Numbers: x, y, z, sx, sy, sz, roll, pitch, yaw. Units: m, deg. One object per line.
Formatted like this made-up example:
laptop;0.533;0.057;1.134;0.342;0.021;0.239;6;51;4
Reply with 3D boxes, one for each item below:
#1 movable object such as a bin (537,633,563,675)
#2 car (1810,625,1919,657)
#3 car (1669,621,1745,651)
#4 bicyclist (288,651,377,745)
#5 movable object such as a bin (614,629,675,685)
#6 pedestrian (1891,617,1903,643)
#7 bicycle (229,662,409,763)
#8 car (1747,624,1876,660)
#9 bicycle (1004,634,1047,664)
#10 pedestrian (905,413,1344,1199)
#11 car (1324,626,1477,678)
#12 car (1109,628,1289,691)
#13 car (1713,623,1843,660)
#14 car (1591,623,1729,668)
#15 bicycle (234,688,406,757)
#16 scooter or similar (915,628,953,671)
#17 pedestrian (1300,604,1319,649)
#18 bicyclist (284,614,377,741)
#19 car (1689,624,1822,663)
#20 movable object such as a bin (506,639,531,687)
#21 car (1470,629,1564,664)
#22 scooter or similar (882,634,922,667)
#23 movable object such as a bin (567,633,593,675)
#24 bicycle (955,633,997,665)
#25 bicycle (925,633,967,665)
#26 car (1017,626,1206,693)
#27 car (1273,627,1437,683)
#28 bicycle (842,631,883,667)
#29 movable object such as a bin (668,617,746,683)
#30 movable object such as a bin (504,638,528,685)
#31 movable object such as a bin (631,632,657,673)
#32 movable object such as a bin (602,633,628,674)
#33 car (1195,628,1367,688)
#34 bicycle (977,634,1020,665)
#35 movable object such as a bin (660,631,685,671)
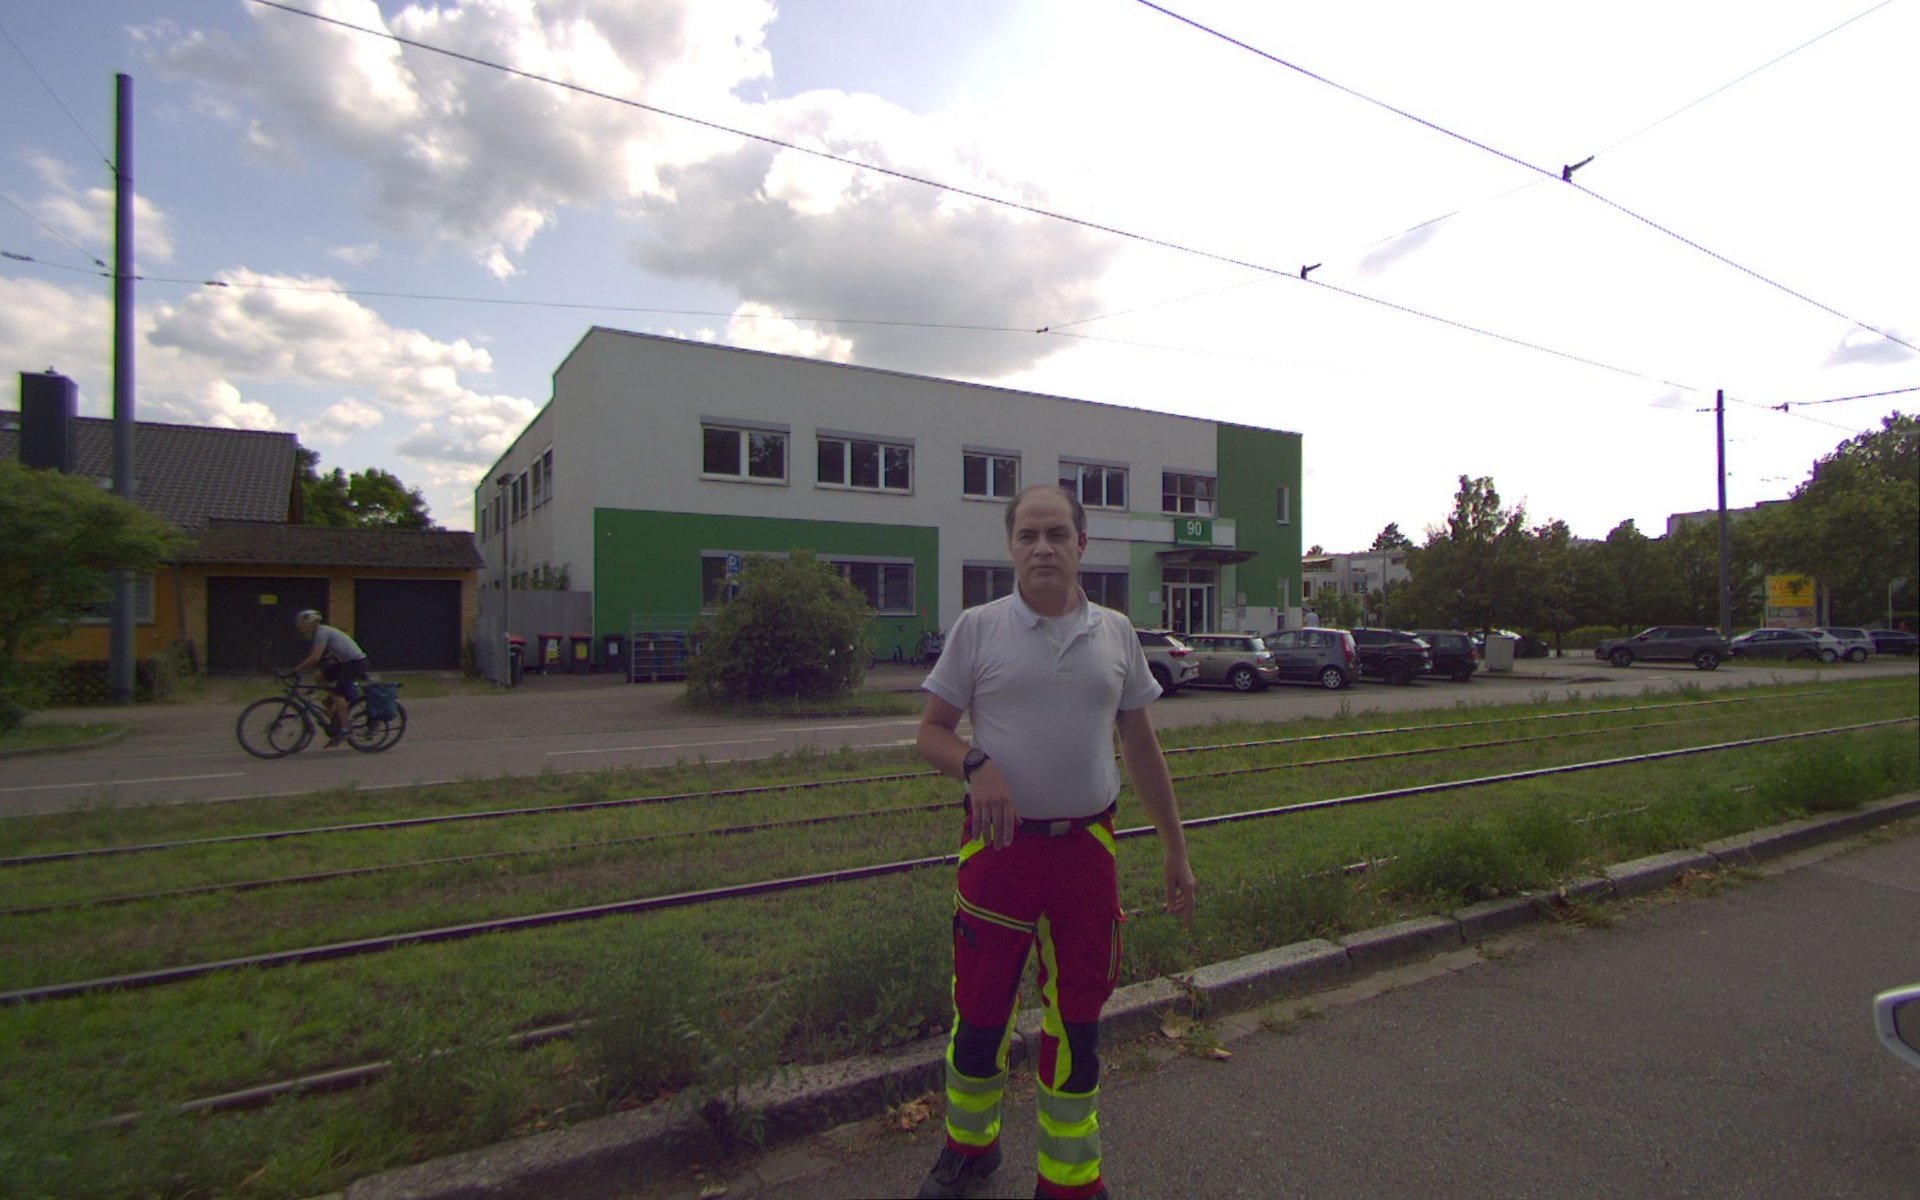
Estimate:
movable object such as a bin;-10.596;1.391;25.970;0.558;1.056;0.565;0;1;-31
car;46.171;2.068;51.044;4.151;1.501;1.883;1;-1;19
car;48.516;2.330;65.312;1.960;1.773;4.000;1;0;0
bicyclist;-7.951;1.219;12.760;0.917;1.127;0.636;1;-1;-30
movable object such as a bin;-7.579;1.345;24.123;1.241;1.251;1.001;0;1;-29
pedestrian;61.267;1.963;65.668;0.597;1.699;0.463;1;-1;-33
bicycle;-7.688;1.327;12.149;1.783;1.094;0.643;1;-1;-30
car;39.380;1.905;46.595;4.154;1.501;1.882;1;-1;23
bicycle;2.165;1.617;33.290;0.453;0.911;1.848;2;0;-30
pedestrian;0.286;0.527;2.265;0.790;1.709;0.850;1;-1;-4
car;13.539;1.563;30.914;4.160;1.501;1.880;-1;-2;30
car;6.127;1.484;25.861;4.160;1.501;1.880;-1;-2;30
car;36.707;1.841;45.189;4.154;1.501;1.882;1;-1;23
car;26.179;1.659;37.719;4.164;1.501;1.878;1;-1;34
bicycle;-8.035;1.524;12.705;1.783;0.727;0.643;1;-2;-30
scooter or similar;-0.770;1.454;29.630;1.073;1.171;1.306;2;0;-2
pedestrian;14.639;1.116;42.110;0.503;1.852;0.543;1;-1;-33
bicyclist;-7.622;0.917;12.204;0.918;1.477;0.620;1;-1;-30
car;34.351;1.858;43.523;4.154;1.501;1.882;1;-1;23
movable object such as a bin;-10.160;1.438;23.125;0.476;1.056;0.502;0;1;-31
car;29.184;2.410;52.731;1.755;1.586;3.970;2;0;-28
scooter or similar;-1.799;1.548;31.006;0.453;0.911;1.726;2;0;-30
movable object such as a bin;-9.987;1.421;26.371;0.558;1.056;0.565;0;1;-31
bicycle;0.494;1.569;32.316;0.453;0.911;1.848;2;0;-30
bicycle;-0.453;1.537;31.695;0.453;0.911;1.848;2;0;-30
car;3.656;1.401;24.256;4.155;1.501;1.882;-1;-2;25
car;11.338;1.546;28.869;4.160;1.501;1.880;-1;-2;30
bicycle;-2.934;1.452;30.029;0.453;0.999;1.848;2;0;-30
movable object such as a bin;-6.264;1.203;24.883;1.691;1.540;1.001;0;1;-29
movable object such as a bin;-10.439;1.432;23.606;0.474;1.056;0.491;0;1;-31
movable object such as a bin;-8.573;1.418;27.241;0.558;1.056;0.565;0;1;-31
movable object such as a bin;-9.232;1.429;26.868;0.558;1.056;0.565;0;1;-31
car;8.719;1.531;27.320;4.160;1.501;1.880;-1;-2;30
bicycle;1.254;1.595;32.778;0.453;0.911;1.848;2;0;-30
movable object such as a bin;-7.910;1.393;27.632;0.558;1.056;0.565;0;1;-31
